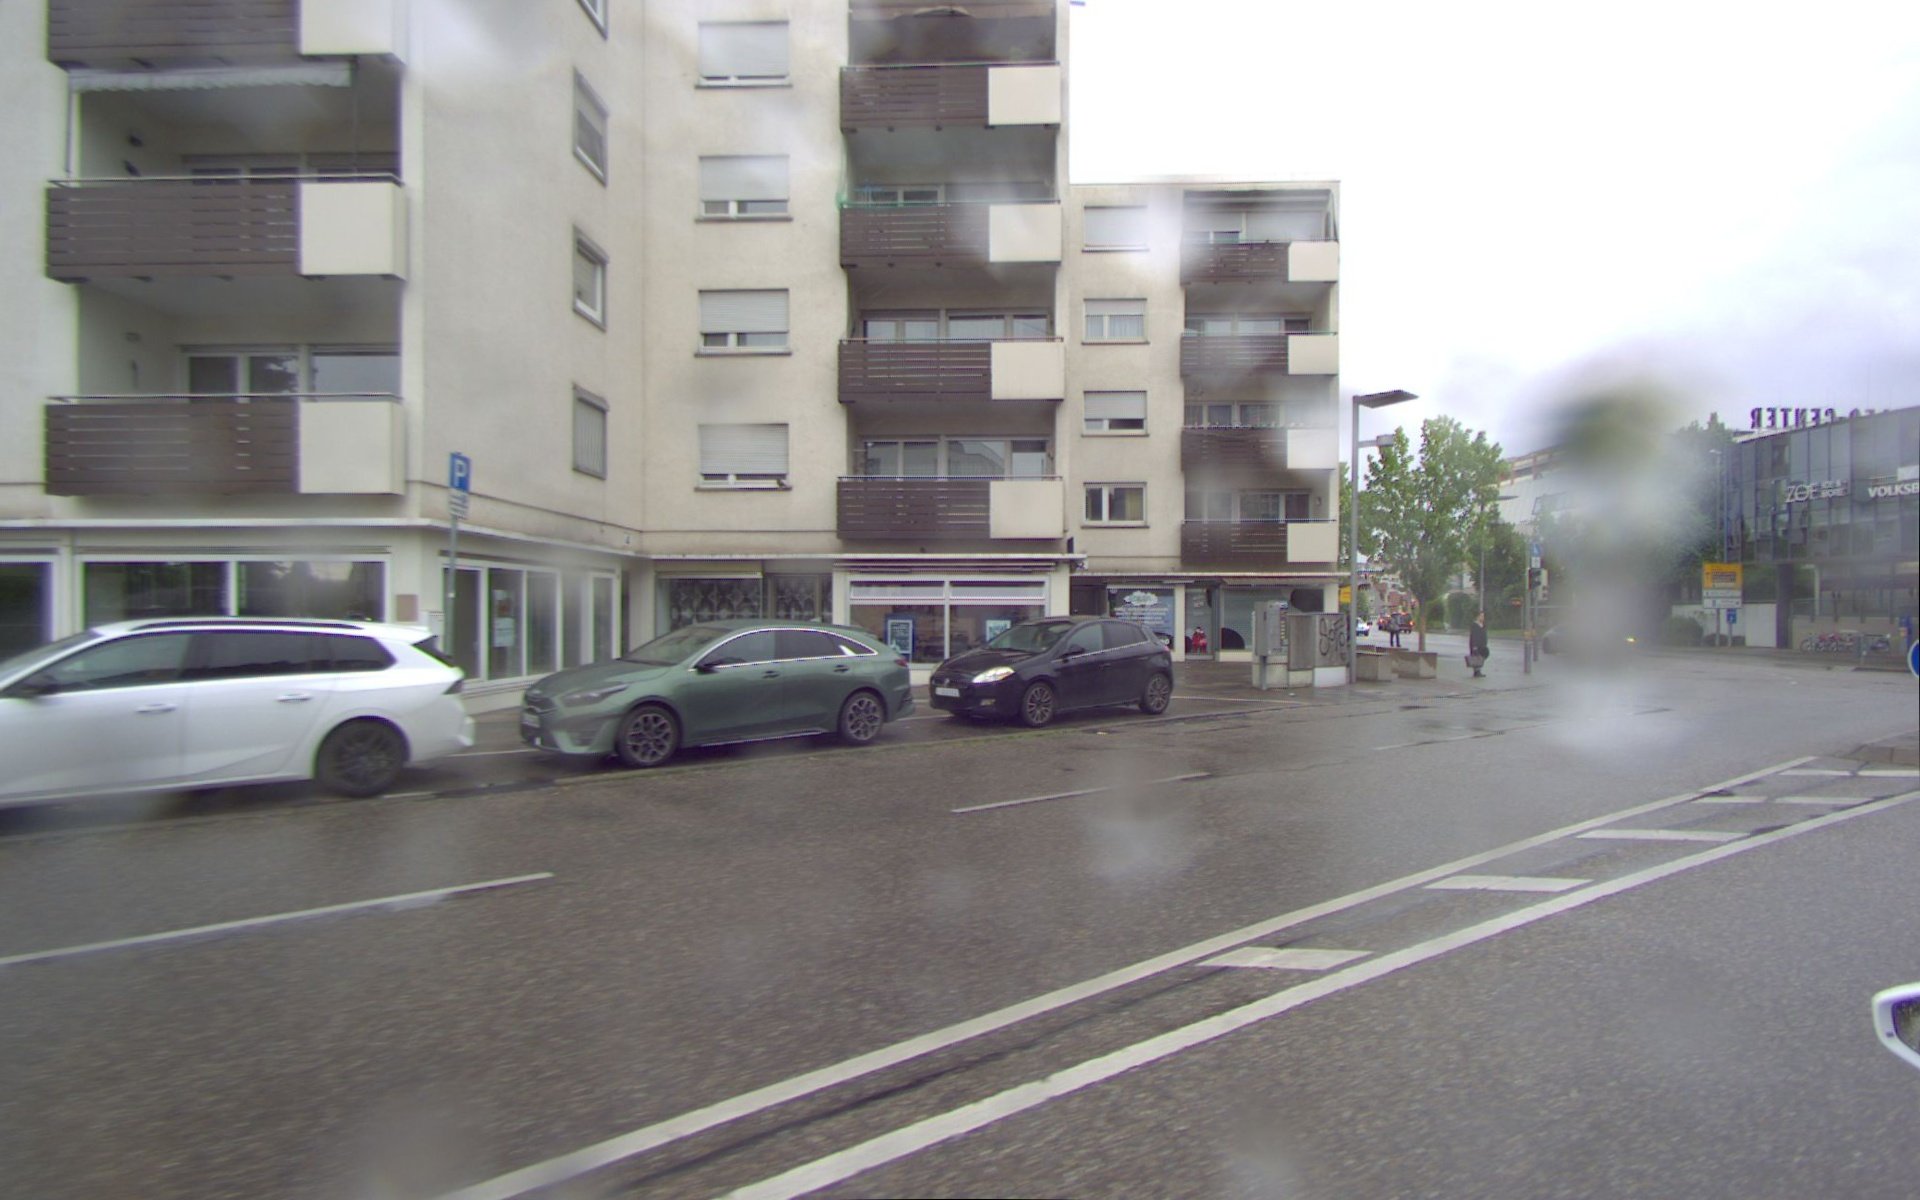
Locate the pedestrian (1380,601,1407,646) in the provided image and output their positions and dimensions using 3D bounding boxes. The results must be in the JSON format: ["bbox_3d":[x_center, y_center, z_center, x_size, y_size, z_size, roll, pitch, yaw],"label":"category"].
[{"bbox_3d":[20.825,1.129,48.228,1.007,2.041,0.964,3,3,18],"label":"pedestrian"}]

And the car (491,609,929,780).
[{"bbox_3d":[-2.683,0.902,11.448,4.486,1.562,1.917,1,-1,-41],"label":"car"}]

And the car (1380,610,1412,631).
[{"bbox_3d":[43.233,2.021,99.675,1.959,2.040,4.003,0,-1,7],"label":"car"}]

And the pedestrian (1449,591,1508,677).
[{"bbox_3d":[12.810,0.838,24.828,0.907,2.041,0.747,2,3,-20],"label":"pedestrian"}]

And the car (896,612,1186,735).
[{"bbox_3d":[1.303,0.969,14.958,4.239,1.562,1.917,1,-1,-41],"label":"car"}]

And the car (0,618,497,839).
[{"bbox_3d":[-6.413,0.894,8.042,4.647,1.483,1.678,1,0,-41],"label":"car"}]

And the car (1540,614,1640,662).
[{"bbox_3d":[25.642,1.511,41.093,1.959,1.532,4.434,3,3,12],"label":"car"}]

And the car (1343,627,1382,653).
[{"bbox_3d":[32.672,3.207,81.598,1.959,2.040,4.003,0,-1,7],"label":"car"}]

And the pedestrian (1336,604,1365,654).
[{"bbox_3d":[16.814,1.227,43.301,1.007,2.041,0.964,3,3,18],"label":"pedestrian"}]
